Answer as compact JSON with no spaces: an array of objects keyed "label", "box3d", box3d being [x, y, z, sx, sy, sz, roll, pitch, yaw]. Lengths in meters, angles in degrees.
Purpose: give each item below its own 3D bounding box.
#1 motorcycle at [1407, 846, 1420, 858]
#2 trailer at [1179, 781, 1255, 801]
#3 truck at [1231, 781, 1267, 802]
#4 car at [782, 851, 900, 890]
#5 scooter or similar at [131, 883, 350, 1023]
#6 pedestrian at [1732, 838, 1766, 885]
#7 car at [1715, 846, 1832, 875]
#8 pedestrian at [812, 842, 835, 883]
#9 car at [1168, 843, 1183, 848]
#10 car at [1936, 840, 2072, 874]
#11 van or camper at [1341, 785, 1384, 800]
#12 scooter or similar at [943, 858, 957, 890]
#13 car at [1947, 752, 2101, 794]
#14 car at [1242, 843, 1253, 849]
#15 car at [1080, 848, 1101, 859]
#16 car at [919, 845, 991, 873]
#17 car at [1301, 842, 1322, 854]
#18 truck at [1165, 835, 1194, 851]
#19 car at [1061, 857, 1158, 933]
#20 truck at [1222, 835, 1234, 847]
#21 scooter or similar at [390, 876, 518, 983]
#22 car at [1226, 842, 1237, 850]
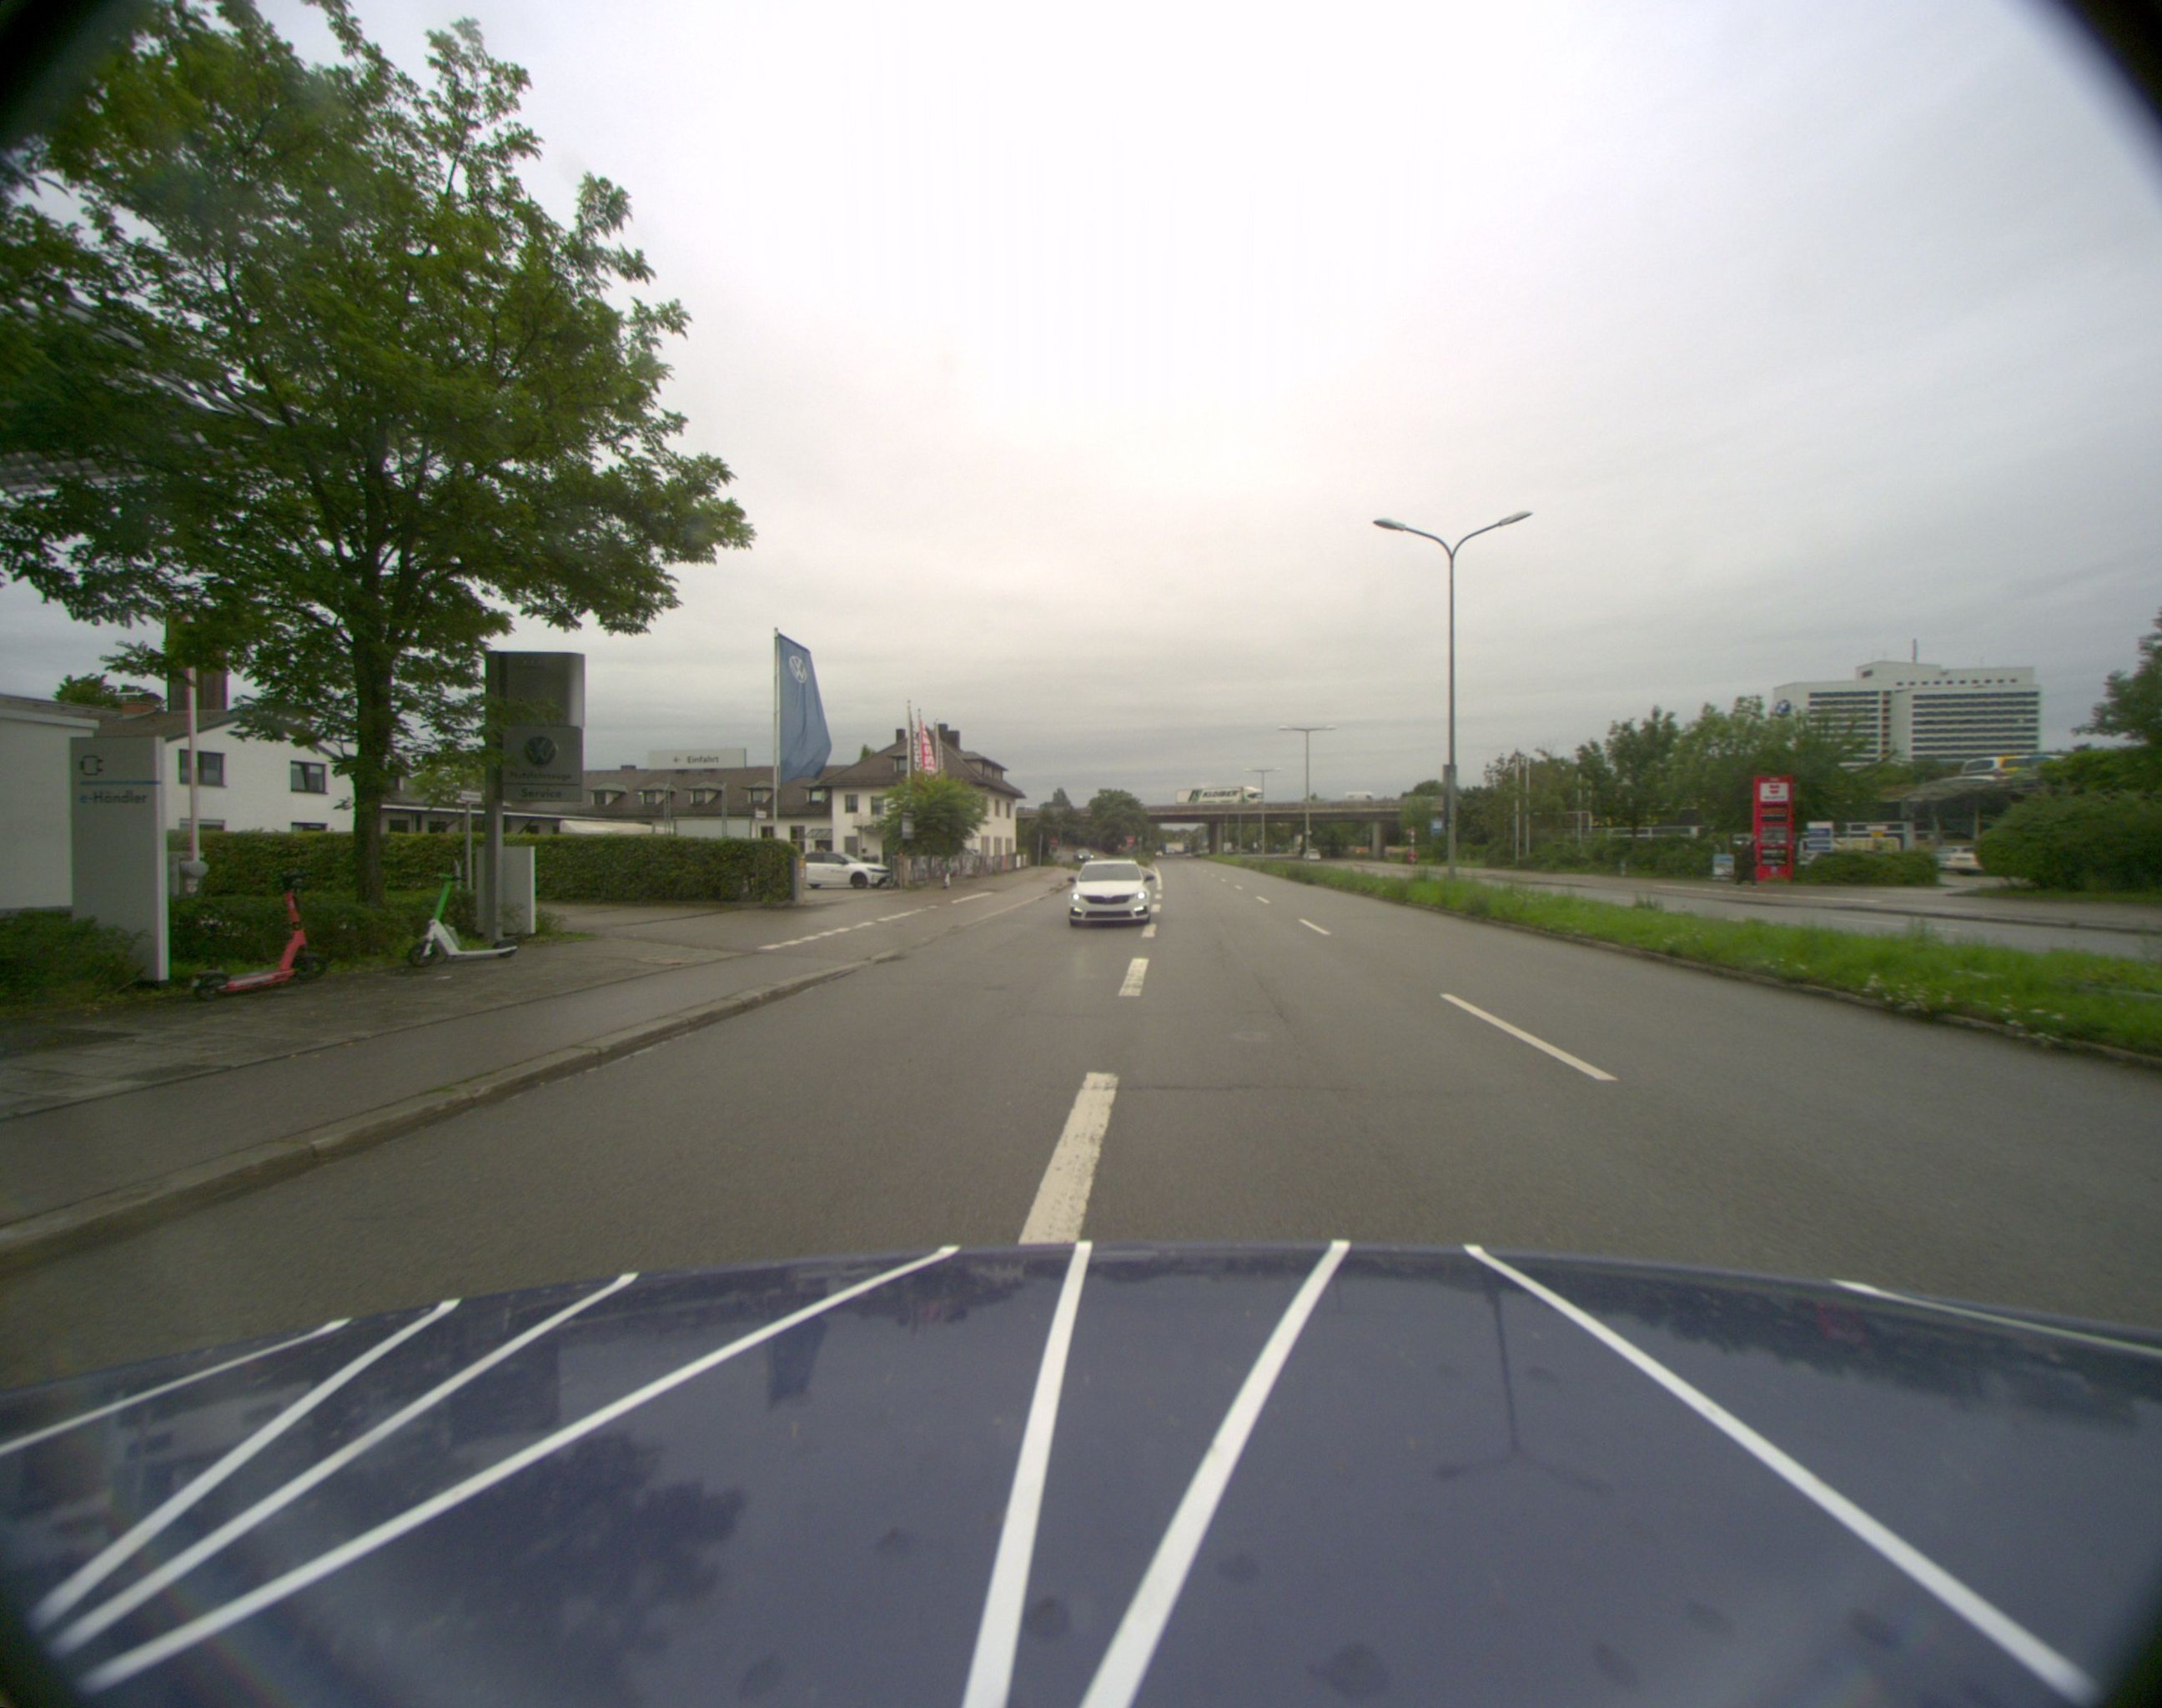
[{"label":"motorcycle","box3d":[32.816,-0.221,75.061,0.534,1.169,2.196,0,1,6]},{"label":"trailer","box3d":[23.479,-10.876,132.104,2.671,3.280,14.015,-3,4,-45]},{"label":"truck","box3d":[28.124,-10.448,127.366,2.602,3.228,5.178,-3,4,-45]},{"label":"car","box3d":[-9.358,0.608,29.820,4.022,1.452,1.794,0,1,7]},{"label":"scooter or similar","box3d":[-8.335,0.926,7.625,0.497,1.198,1.430,3,0,4]},{"label":"pedestrian","box3d":[26.234,0.290,29.844,0.623,1.819,0.817,0,1,7]},{"label":"car","box3d":[34.104,0.302,37.519,3.996,1.412,1.870,0,1,3]},{"label":"pedestrian","box3d":[-12.213,0.401,36.034,0.734,1.891,0.932,0,1,2]},{"label":"car","box3d":[27.655,-2.507,222.410,1.979,1.573,4.579,2,-1,-34]},{"label":"car","box3d":[44.721,0.137,36.908,3.995,1.556,1.909,-1,2,6]},{"label":"van or camper","box3d":[42.075,-9.186,113.493,2.336,2.002,5.490,-2,3,-45]},{"label":"scooter or similar","box3d":[-5.303,0.799,30.802,0.398,1.216,1.638,2,2,-6]},{"label":"car","box3d":[49.375,-4.220,39.884,4.791,2.003,2.135,2,4,8]},{"label":"car","box3d":[43.372,-2.039,198.247,1.973,1.389,4.816,1,2,4]},{"label":"car","box3d":[1.174,-0.117,92.006,1.711,1.281,3.995,0,0,-12]},{"label":"car","box3d":[-7.876,0.331,47.817,4.105,1.716,1.927,0,1,5]},{"label":"car","box3d":[31.575,-0.883,104.086,1.997,1.563,4.576,0,1,7]},{"label":"truck","box3d":[29.380,-3.353,228.142,2.805,4.566,9.572,1,3,-34]},{"label":"car","box3d":[0.771,0.839,17.670,1.914,1.439,4.558,-2,0,5]},{"label":"truck","box3d":[37.547,-3.263,193.926,2.257,2.960,7.234,2,2,6]},{"label":"scooter or similar","box3d":[-8.095,0.936,9.877,0.497,1.198,1.429,3,1,-3]},{"label":"car","box3d":[35.325,-1.891,178.445,1.973,1.574,4.591,2,2,5]}]
